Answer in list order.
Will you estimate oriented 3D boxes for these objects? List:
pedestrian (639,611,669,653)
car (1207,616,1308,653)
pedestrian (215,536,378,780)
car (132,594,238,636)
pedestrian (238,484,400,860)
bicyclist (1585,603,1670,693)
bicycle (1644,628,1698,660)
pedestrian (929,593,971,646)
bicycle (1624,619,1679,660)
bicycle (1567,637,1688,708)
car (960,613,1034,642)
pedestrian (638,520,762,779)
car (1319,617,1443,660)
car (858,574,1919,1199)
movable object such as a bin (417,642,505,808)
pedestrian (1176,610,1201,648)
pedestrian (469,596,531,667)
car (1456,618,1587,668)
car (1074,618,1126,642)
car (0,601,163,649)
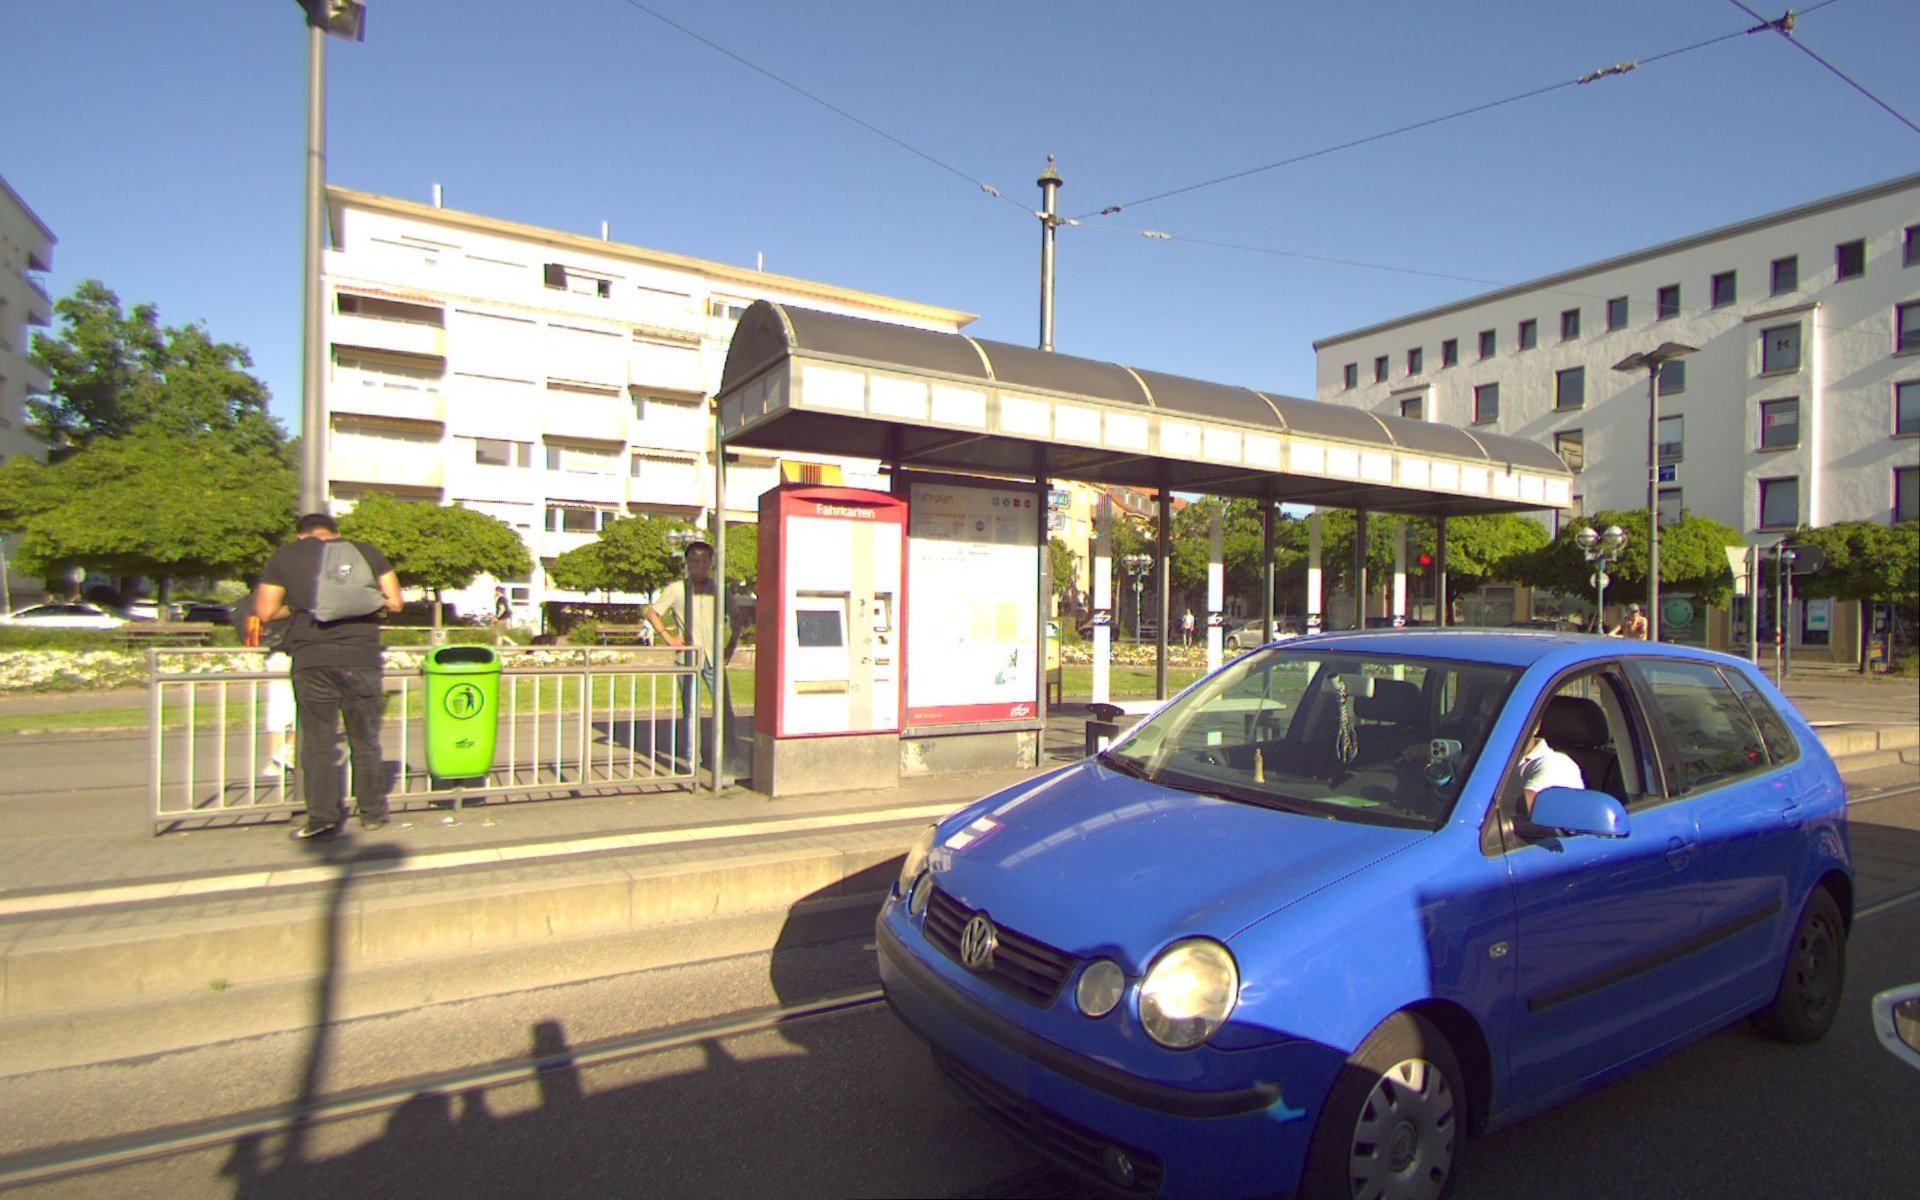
[{"bbox_3d":[-10.252,1.054,33.613,0.672,1.378,1.042,1,-1,-34],"label":"pedestrian"},{"bbox_3d":[14.113,1.608,47.933,1.835,1.628,4.581,1,-1,-31],"label":"car"},{"bbox_3d":[-5.077,0.424,7.693,0.965,1.702,0.986,1,-2,-36],"label":"pedestrian"},{"bbox_3d":[-28.713,0.568,37.312,2.899,1.506,1.407,1,-1,-30],"label":"car"},{"bbox_3d":[-3.184,0.346,5.041,0.599,1.740,0.546,1,-3,-28],"label":"pedestrian"},{"bbox_3d":[11.349,0.807,17.096,0.864,1.475,0.826,2,0,-22],"label":"bicyclist"},{"bbox_3d":[28.217,1.740,39.869,2.586,1.206,0.615,1,-1,-27],"label":"bicycle"},{"bbox_3d":[-0.398,0.772,39.347,1.219,2.040,1.214,1,-1,-30],"label":"pedestrian"},{"bbox_3d":[27.892,1.587,40.513,2.585,1.628,0.616,1,-1,-26],"label":"bicycle"},{"bbox_3d":[11.363,1.220,17.102,1.947,1.128,0.727,2,0,-21],"label":"bicycle"},{"bbox_3d":[1.839,1.331,49.432,3.271,1.372,1.638,1,-1,-29],"label":"car"},{"bbox_3d":[-1.926,0.373,7.406,0.760,1.796,0.613,1,-6,-28],"label":"pedestrian"},{"bbox_3d":[17.872,1.602,42.839,1.978,1.684,4.581,1,-1,-31],"label":"car"},{"bbox_3d":[1.769,0.767,3.616,3.957,1.507,1.657,1,-2,-33],"label":"car"},{"bbox_3d":[-2.768,0.673,5.574,0.411,0.871,0.335,1,-1,-27],"label":"movable object such as a bin"},{"bbox_3d":[11.448,1.455,50.361,0.856,1.841,0.944,1,0,-19],"label":"pedestrian"},{"bbox_3d":[-12.040,0.808,26.325,1.154,1.811,1.081,1,0,-4],"label":"pedestrian"},{"bbox_3d":[21.074,1.587,37.850,1.804,1.728,3.968,1,-1,-30],"label":"car"},{"bbox_3d":[9.364,1.997,67.107,1.887,1.514,4.343,2,0,31],"label":"car"},{"bbox_3d":[-25.573,0.712,29.030,3.672,1.318,1.984,1,-1,-30],"label":"car"}]
